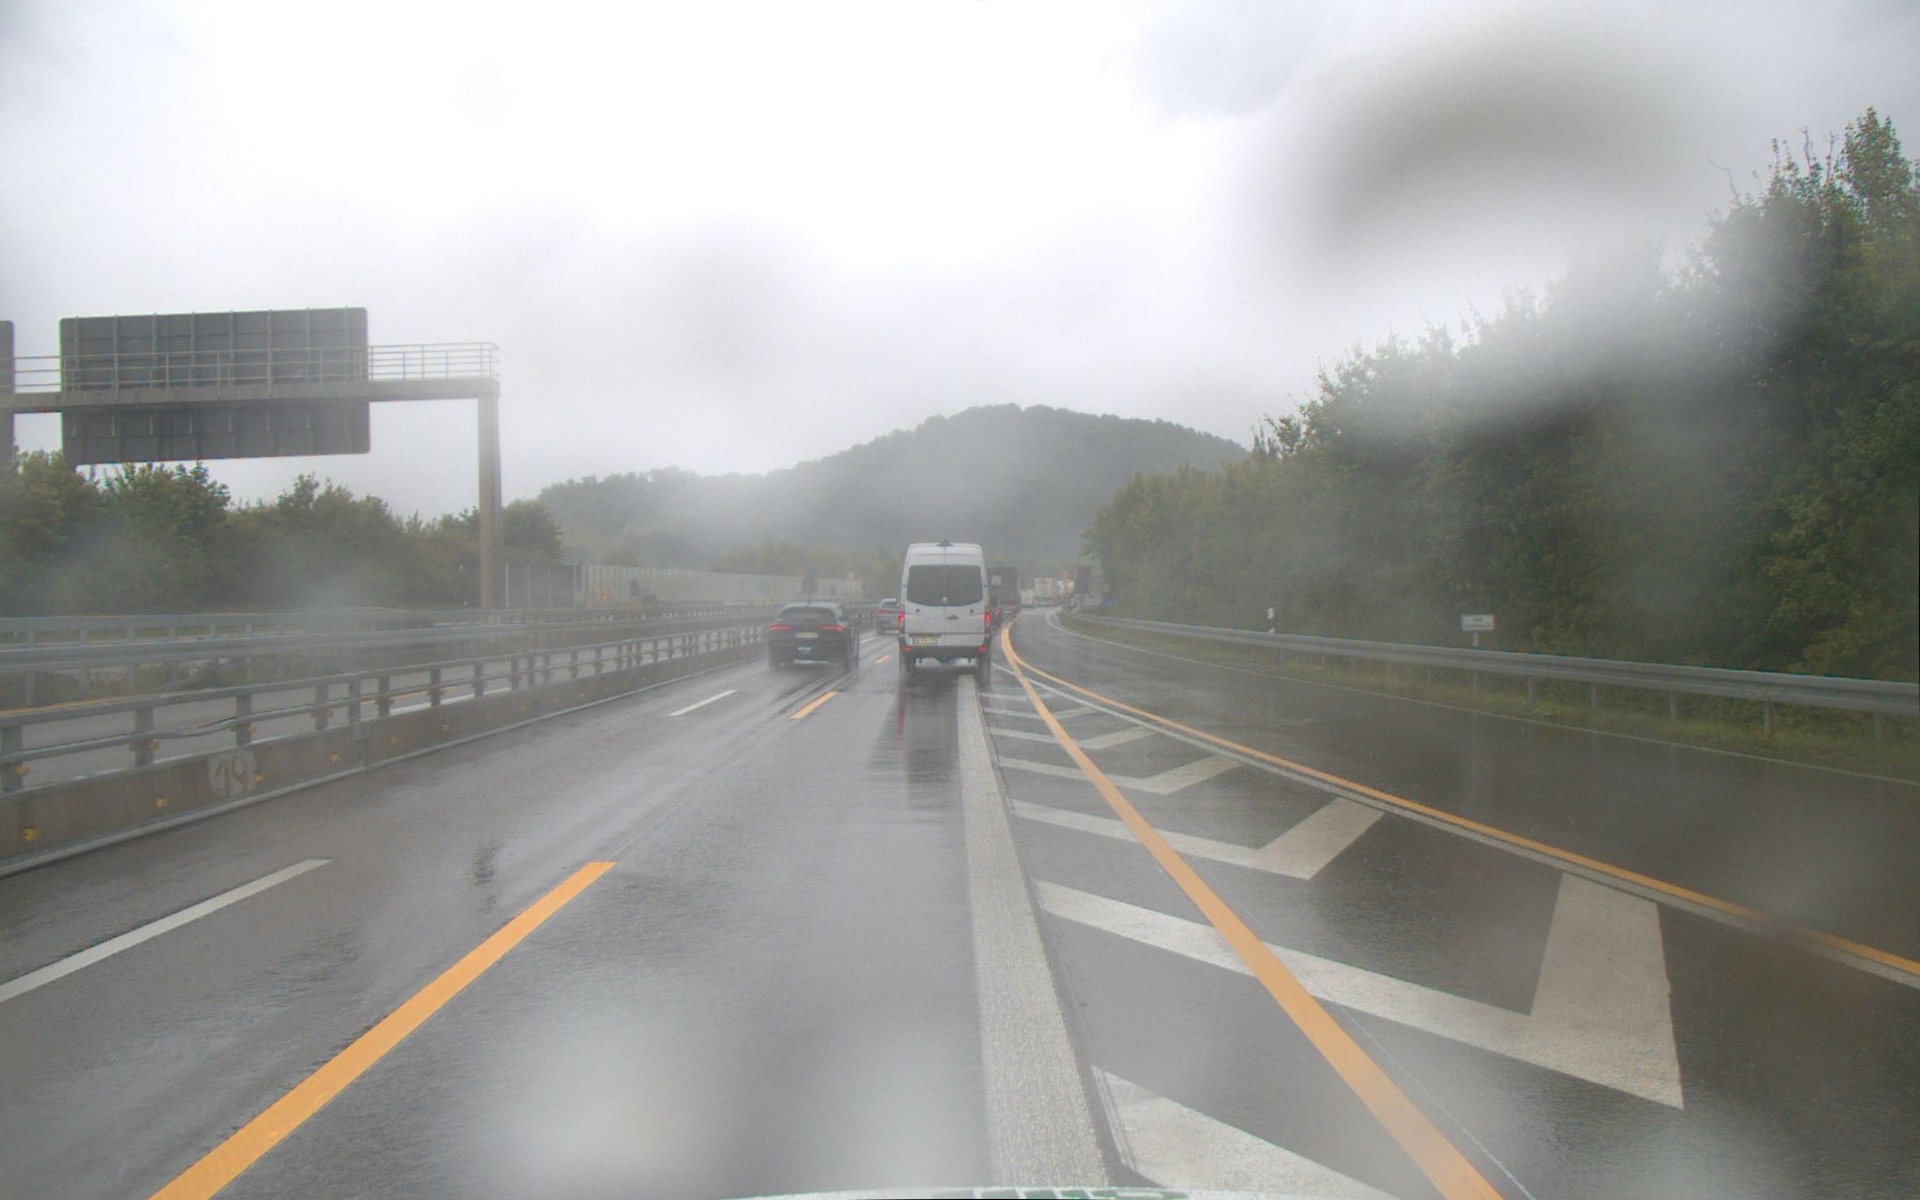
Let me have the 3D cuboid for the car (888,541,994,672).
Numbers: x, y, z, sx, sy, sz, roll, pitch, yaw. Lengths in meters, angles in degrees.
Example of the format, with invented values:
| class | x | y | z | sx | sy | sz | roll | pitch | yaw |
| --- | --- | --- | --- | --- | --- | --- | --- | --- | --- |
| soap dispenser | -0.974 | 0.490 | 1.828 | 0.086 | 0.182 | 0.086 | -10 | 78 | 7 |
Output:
| class | x | y | z | sx | sy | sz | roll | pitch | yaw |
| --- | --- | --- | --- | --- | --- | --- | --- | --- | --- |
| car | -0.357 | 0.138 | 35.937 | 2.101 | 2.616 | 5.390 | 1 | 0 | 0 |

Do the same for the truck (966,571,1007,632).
| class | x | y | z | sx | sy | sz | roll | pitch | yaw |
| --- | --- | --- | --- | --- | --- | --- | --- | --- | --- |
| truck | 1.509 | 0.080 | 90.347 | 1.952 | 3.163 | 8.501 | 1 | 0 | 2 |

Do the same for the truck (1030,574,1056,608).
| class | x | y | z | sx | sy | sz | roll | pitch | yaw |
| --- | --- | --- | --- | --- | --- | --- | --- | --- | --- |
| truck | 11.438 | -1.178 | 227.433 | 2.972 | 4.483 | 9.630 | 1 | 0 | 6 |

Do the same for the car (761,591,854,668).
| class | x | y | z | sx | sy | sz | roll | pitch | yaw |
| --- | --- | --- | --- | --- | --- | --- | --- | --- | --- |
| car | -3.318 | 0.616 | 36.625 | 1.908 | 1.588 | 3.997 | 1 | 0 | -3 |

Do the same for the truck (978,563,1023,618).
| class | x | y | z | sx | sy | sz | roll | pitch | yaw |
| --- | --- | --- | --- | --- | --- | --- | --- | --- | --- |
| truck | 3.548 | -0.795 | 141.643 | 3.506 | 4.483 | 9.628 | 1 | 0 | 3 |

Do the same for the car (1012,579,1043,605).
| class | x | y | z | sx | sy | sz | roll | pitch | yaw |
| --- | --- | --- | --- | --- | --- | --- | --- | --- | --- |
| car | 7.693 | -0.869 | 188.068 | 2.836 | 2.938 | 6.416 | 1 | 0 | 9 |

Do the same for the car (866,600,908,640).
| class | x | y | z | sx | sy | sz | roll | pitch | yaw |
| --- | --- | --- | --- | --- | --- | --- | --- | --- | --- |
| car | -3.102 | 0.835 | 70.721 | 1.672 | 1.656 | 3.999 | 1 | 0 | -1 |

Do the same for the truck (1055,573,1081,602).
| class | x | y | z | sx | sy | sz | roll | pitch | yaw |
| --- | --- | --- | --- | --- | --- | --- | --- | --- | --- |
| truck | 17.209 | -1.950 | 262.278 | 2.836 | 4.483 | 9.632 | 1 | 0 | 11 |
